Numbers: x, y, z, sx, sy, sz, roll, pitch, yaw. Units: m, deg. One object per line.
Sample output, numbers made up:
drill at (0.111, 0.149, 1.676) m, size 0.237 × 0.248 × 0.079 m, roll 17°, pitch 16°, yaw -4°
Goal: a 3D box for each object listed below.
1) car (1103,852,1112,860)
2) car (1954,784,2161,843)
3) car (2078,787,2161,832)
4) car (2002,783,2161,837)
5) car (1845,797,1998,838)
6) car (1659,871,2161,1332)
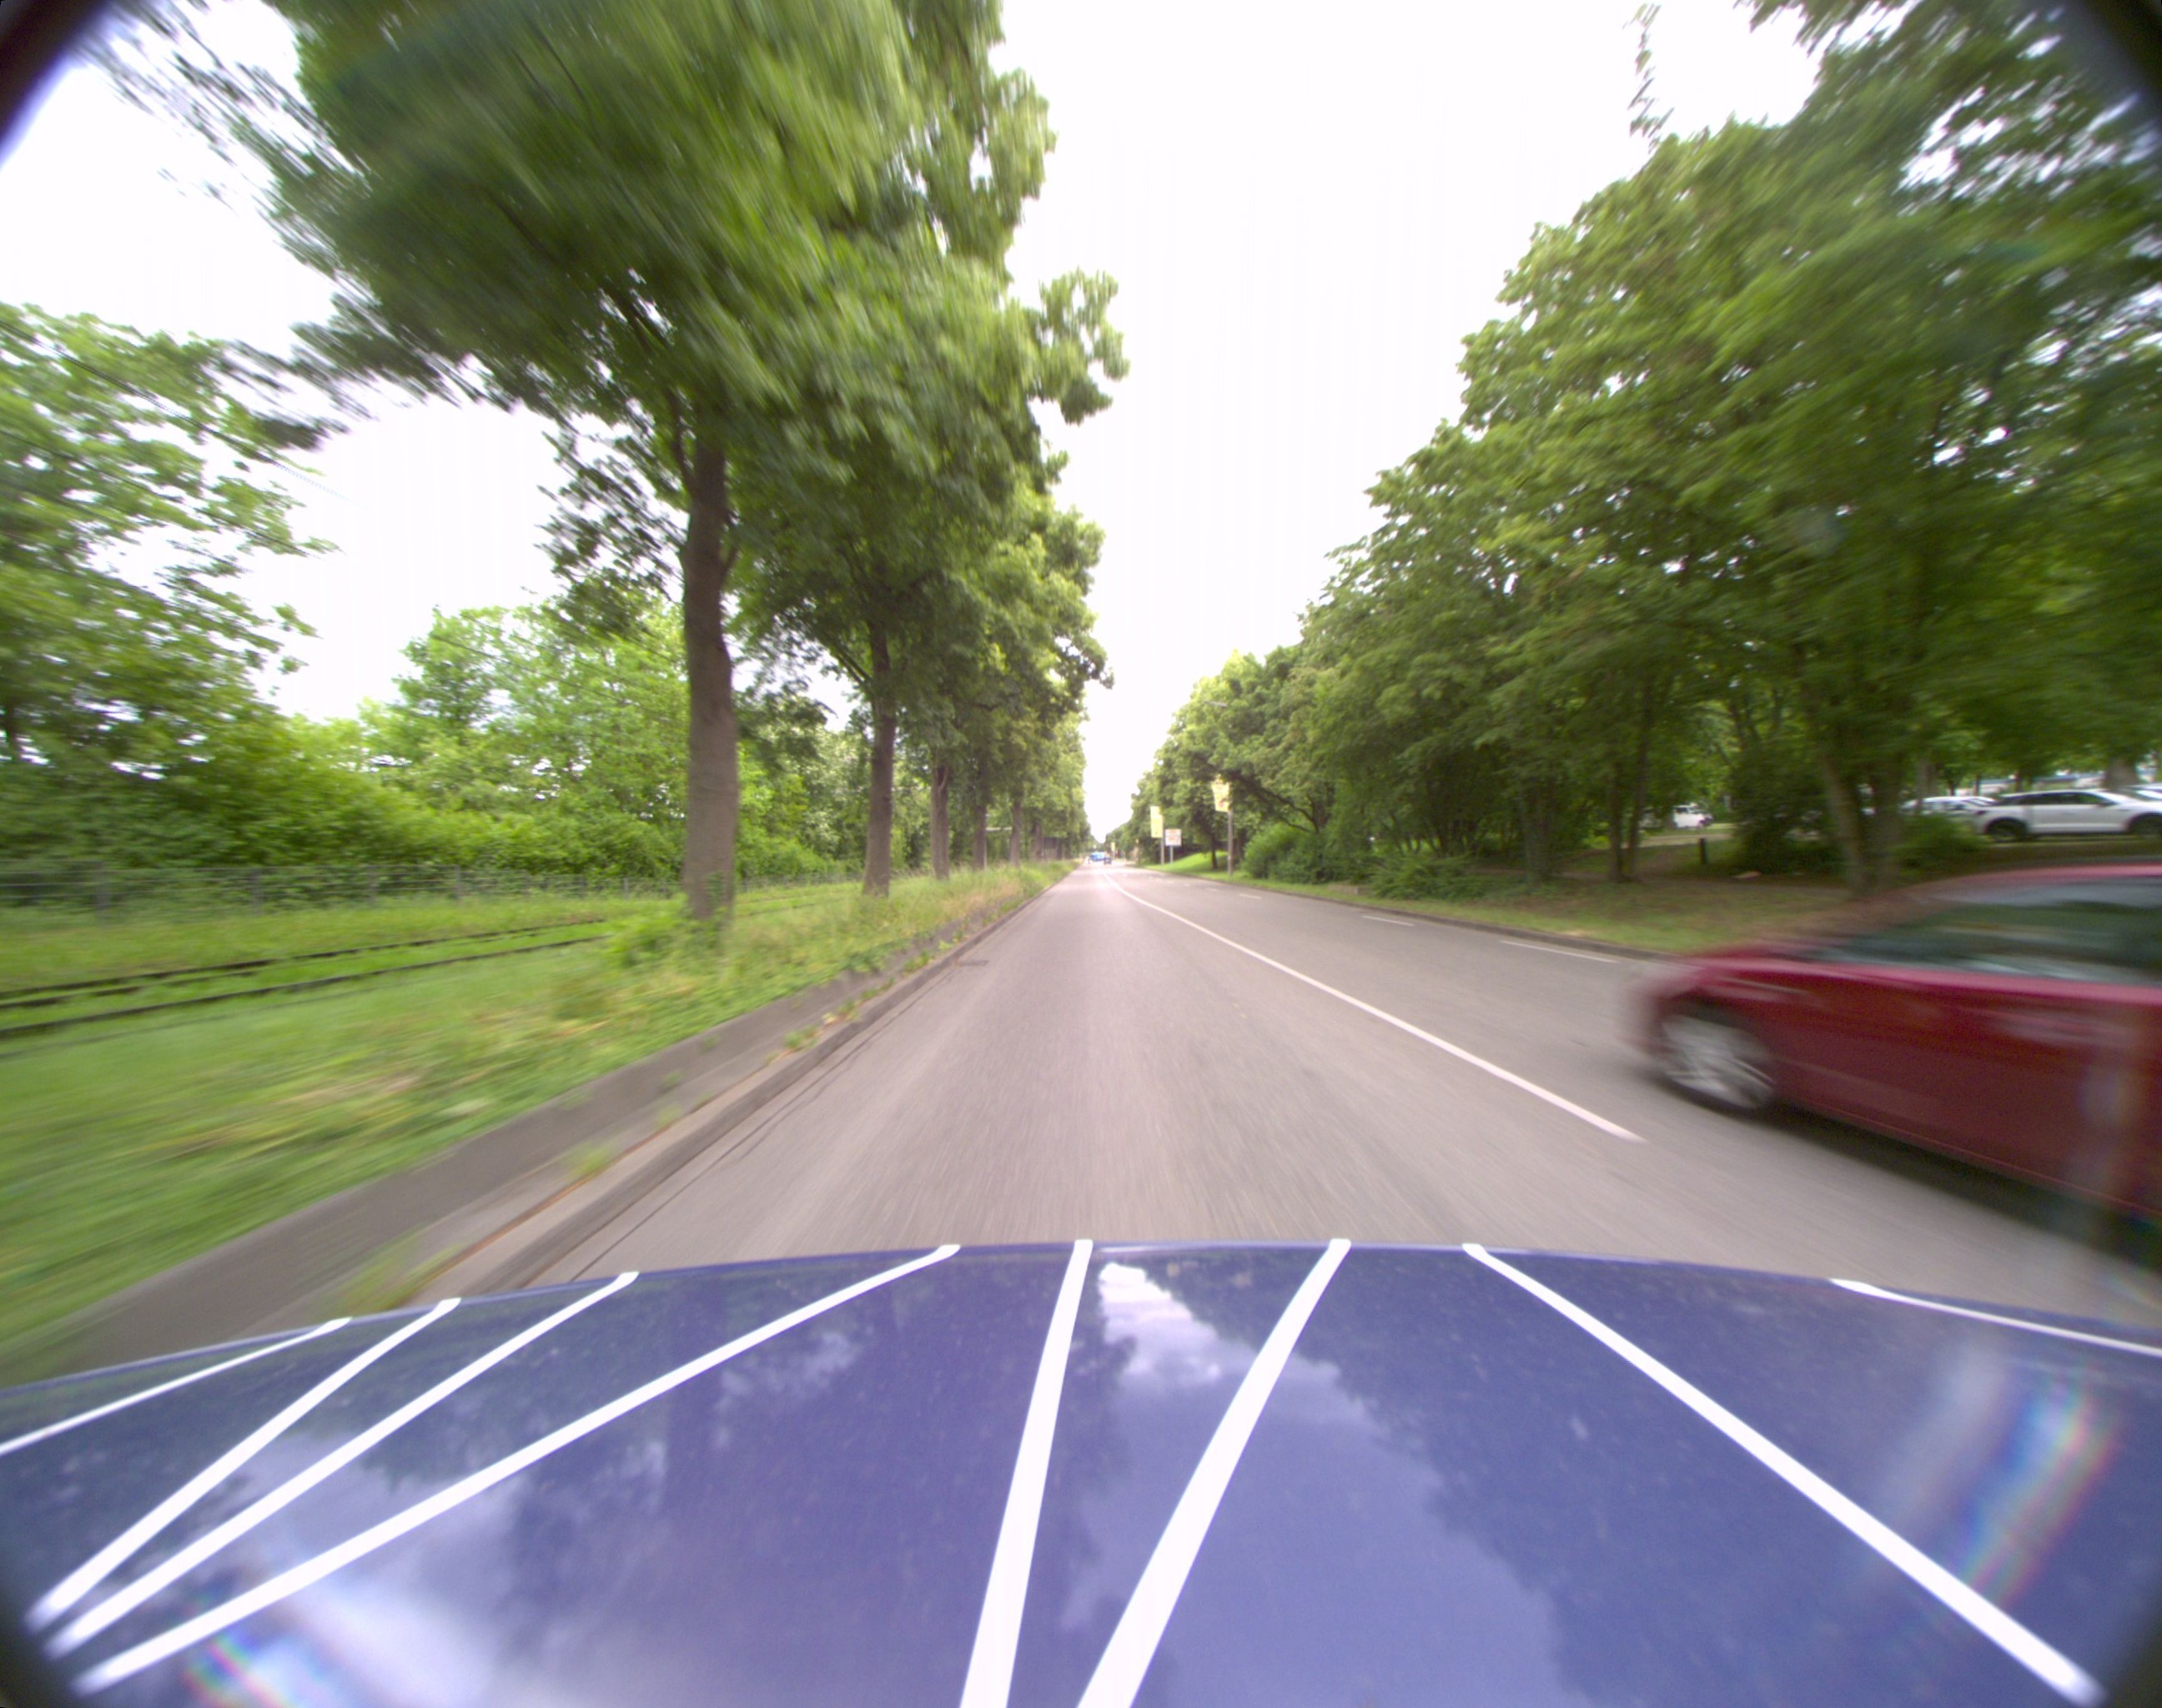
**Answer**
car at (6.437, 0.535, 183.706) m, size 1.998 × 1.944 × 5.183 m, roll -1°, pitch 0°, yaw 1°
car at (28.904, -1.140, 22.282) m, size 1.653 × 1.477 × 3.992 m, roll -2°, pitch 0°, yaw -23°
car at (38.115, -1.604, 26.360) m, size 1.653 × 1.477 × 3.992 m, roll -2°, pitch 0°, yaw -23°
car at (31.677, -1.342, 23.341) m, size 1.653 × 1.477 × 3.992 m, roll -2°, pitch 0°, yaw -23°
car at (35.397, -1.512, 32.138) m, size 1.653 × 1.477 × 3.992 m, roll -2°, pitch 0°, yaw -23°
car at (4.323, 0.827, 2.429) m, size 1.721 × 1.420 × 4.196 m, roll 0°, pitch 0°, yaw 0°
